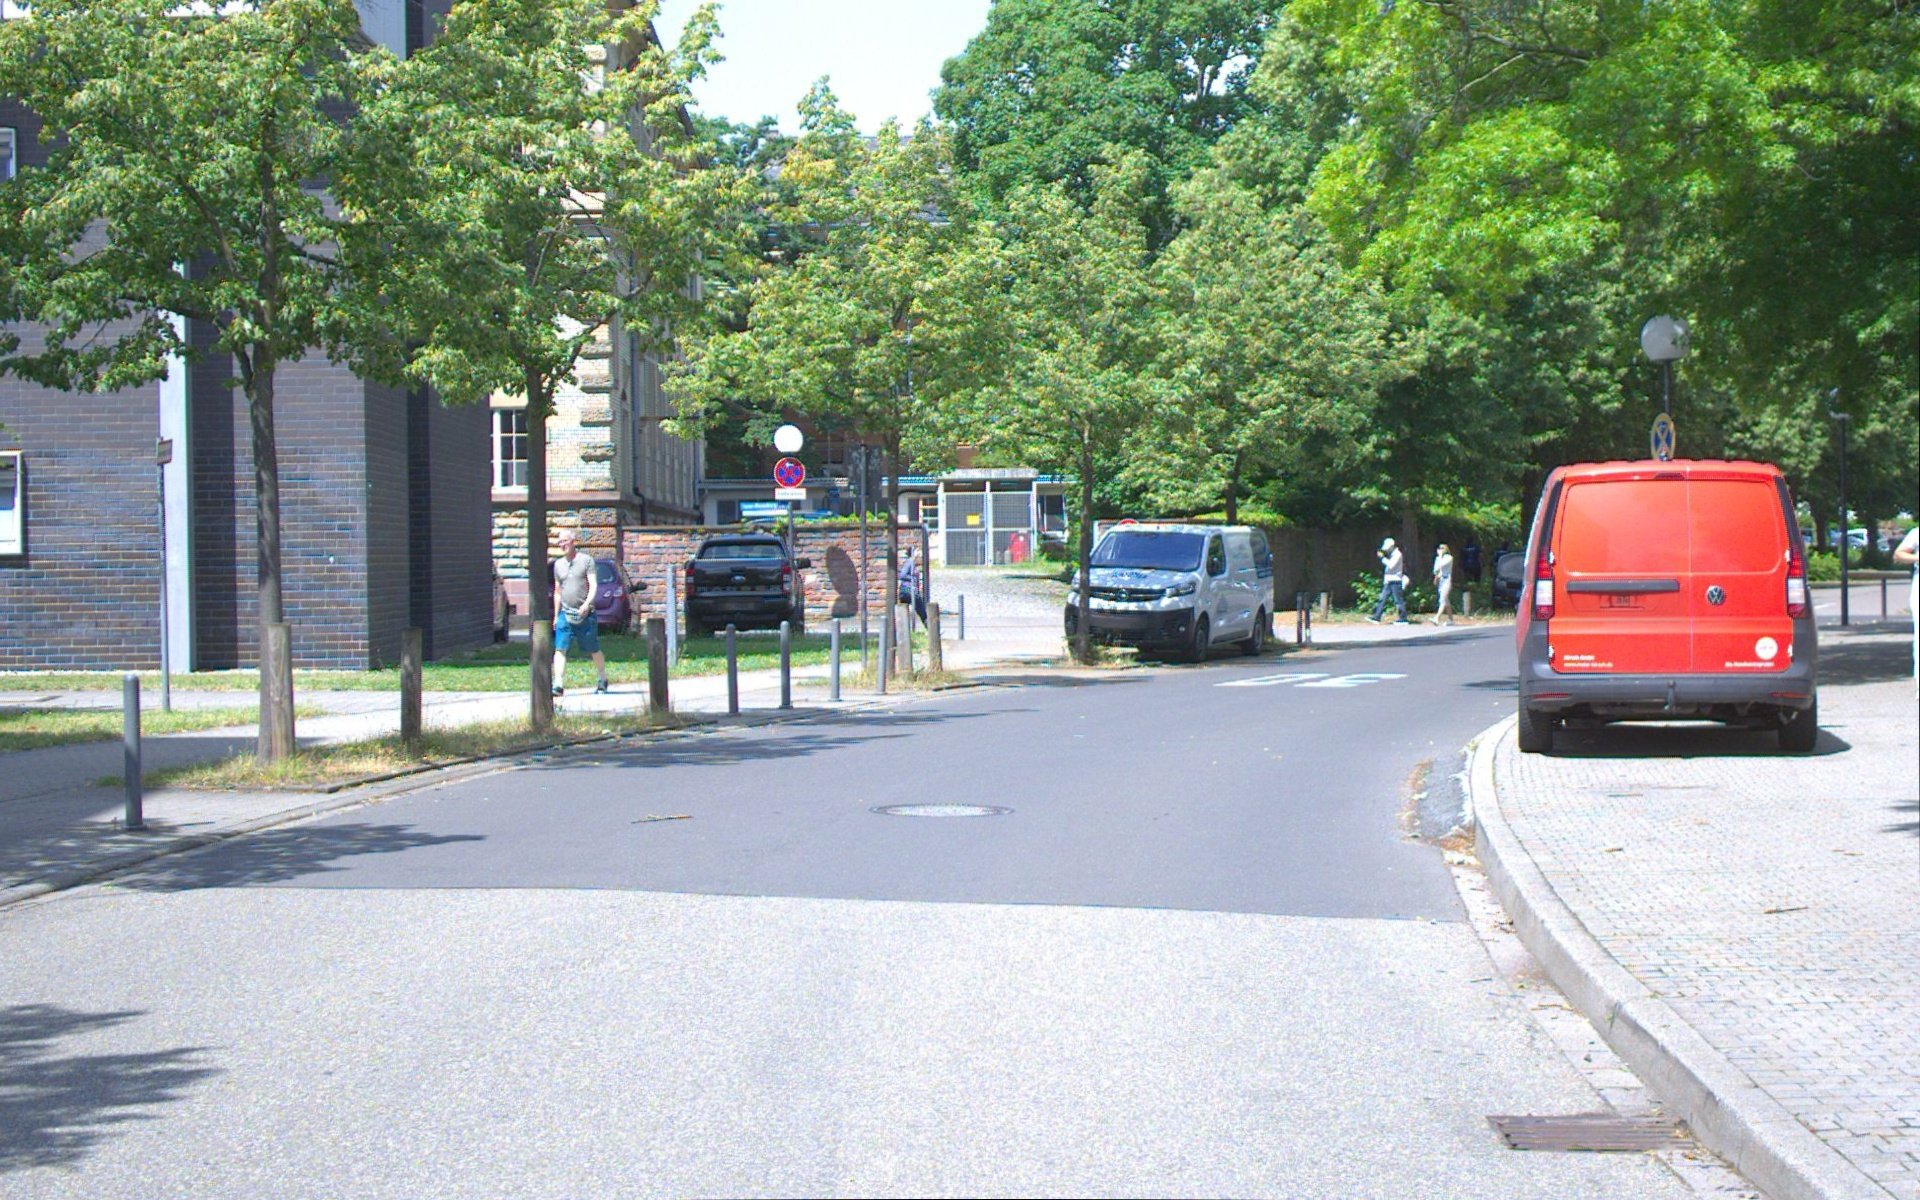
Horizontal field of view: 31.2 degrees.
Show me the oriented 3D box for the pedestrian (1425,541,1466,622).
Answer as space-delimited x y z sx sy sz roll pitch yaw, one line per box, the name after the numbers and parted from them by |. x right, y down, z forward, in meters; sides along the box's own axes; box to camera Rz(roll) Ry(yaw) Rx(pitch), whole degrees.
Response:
9.226 -0.357 65.319 0.584 1.522 0.494 -1 1 -37 | pedestrian

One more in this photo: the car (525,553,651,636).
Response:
-6.167 -0.117 57.328 1.817 1.319 3.768 -1 1 -2 | car

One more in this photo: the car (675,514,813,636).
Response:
-3.589 -0.440 57.392 2.174 1.919 5.187 -1 1 -3 | car

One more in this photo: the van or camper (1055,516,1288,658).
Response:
3.100 -0.233 49.223 1.955 1.916 5.415 1 1 19 | van or camper

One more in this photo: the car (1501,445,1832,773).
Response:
4.510 0.014 22.555 1.849 1.885 4.889 -1 1 9 | car

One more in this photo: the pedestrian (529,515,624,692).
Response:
-3.875 0.028 34.806 0.584 1.758 0.910 -1 1 20 | pedestrian

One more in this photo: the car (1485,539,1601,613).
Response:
12.593 -0.535 74.138 1.761 1.516 4.107 0 1 20 | car

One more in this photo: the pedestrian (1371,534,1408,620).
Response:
8.272 -0.446 66.247 0.626 1.657 0.603 -1 1 0 | pedestrian

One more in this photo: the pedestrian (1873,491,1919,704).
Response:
8.382 -0.026 29.682 0.721 1.815 0.630 -1 1 -37 | pedestrian
